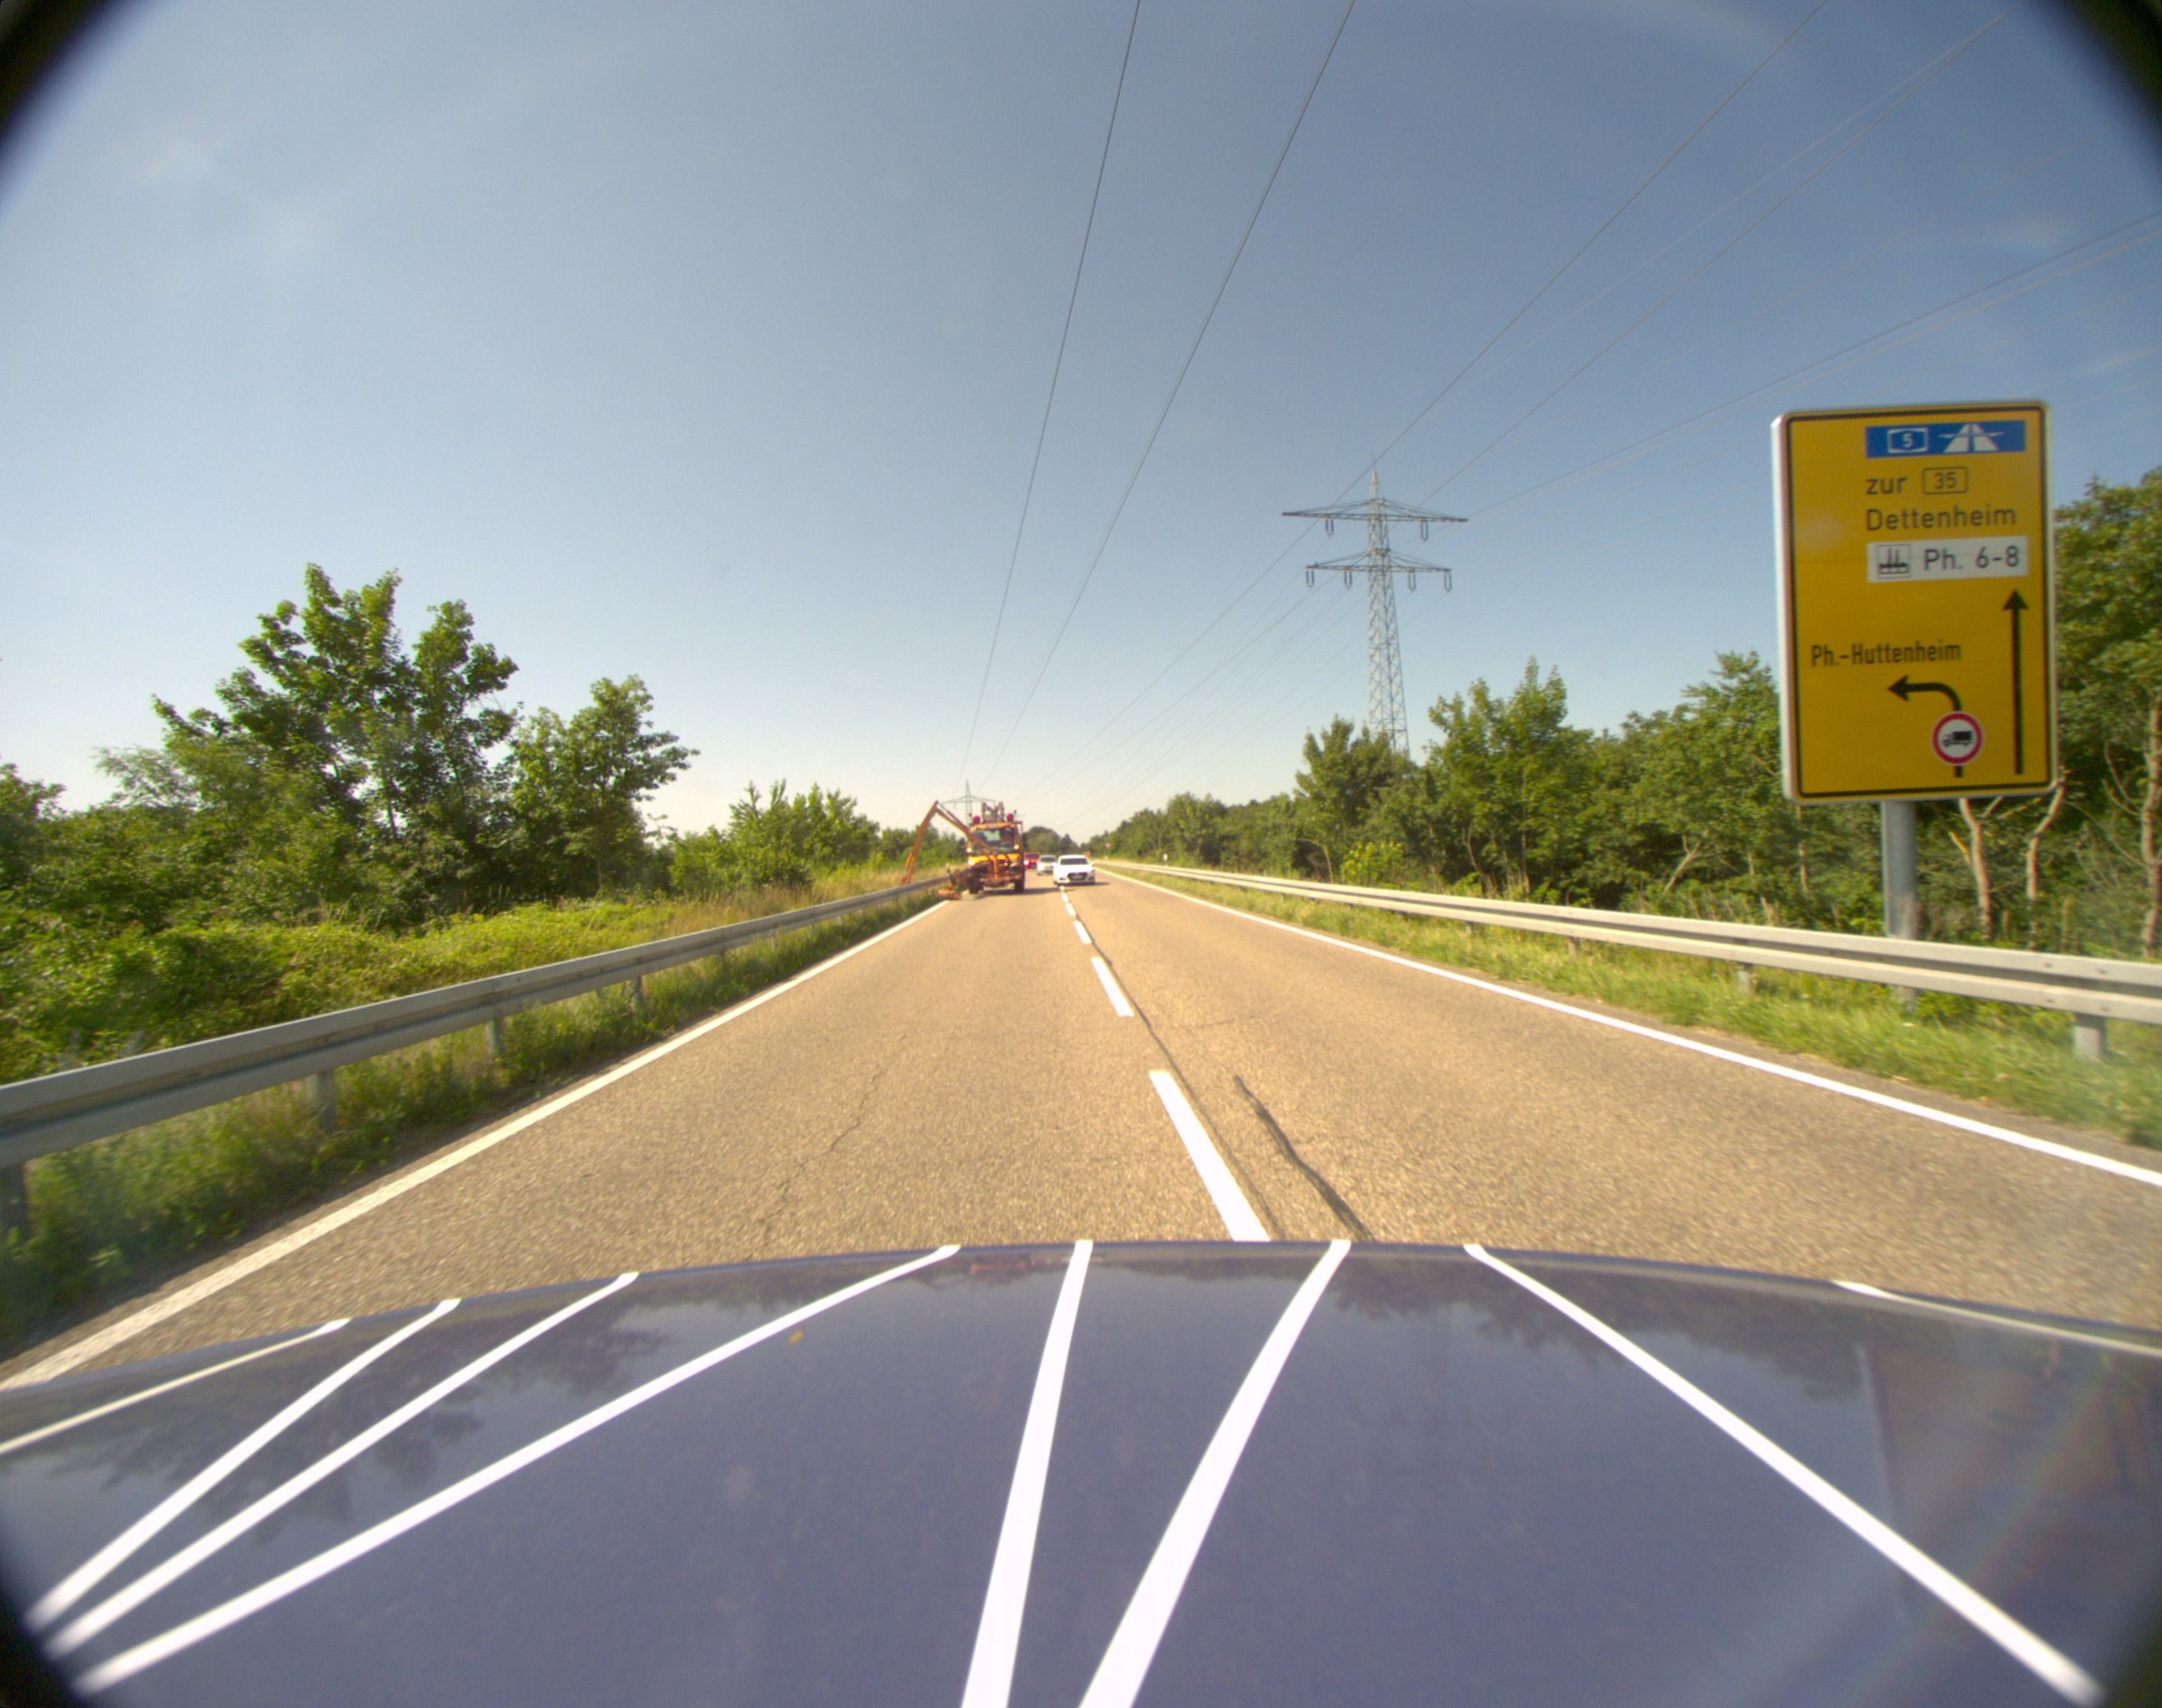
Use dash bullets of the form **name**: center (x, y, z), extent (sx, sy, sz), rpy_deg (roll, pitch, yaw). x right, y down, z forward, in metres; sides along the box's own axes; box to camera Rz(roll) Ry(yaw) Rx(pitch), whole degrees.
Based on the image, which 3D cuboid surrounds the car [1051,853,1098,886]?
- **car**: center (-0.381, 0.734, 37.790), extent (1.923, 1.496, 4.791), rpy_deg (-2, 0, -5)

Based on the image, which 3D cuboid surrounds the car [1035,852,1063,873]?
- **car**: center (-2.604, 0.675, 60.661), extent (1.923, 1.540, 4.791), rpy_deg (-2, 0, -5)

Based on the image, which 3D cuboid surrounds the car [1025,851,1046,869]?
- **car**: center (-4.971, 0.650, 83.286), extent (2.127, 1.934, 5.017), rpy_deg (-2, 0, -5)

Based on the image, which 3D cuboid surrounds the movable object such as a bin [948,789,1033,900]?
- **movable object such as a bin**: center (-3.470, -0.324, 31.298), extent (2.761, 3.817, 9.442), rpy_deg (-2, 0, -3)
